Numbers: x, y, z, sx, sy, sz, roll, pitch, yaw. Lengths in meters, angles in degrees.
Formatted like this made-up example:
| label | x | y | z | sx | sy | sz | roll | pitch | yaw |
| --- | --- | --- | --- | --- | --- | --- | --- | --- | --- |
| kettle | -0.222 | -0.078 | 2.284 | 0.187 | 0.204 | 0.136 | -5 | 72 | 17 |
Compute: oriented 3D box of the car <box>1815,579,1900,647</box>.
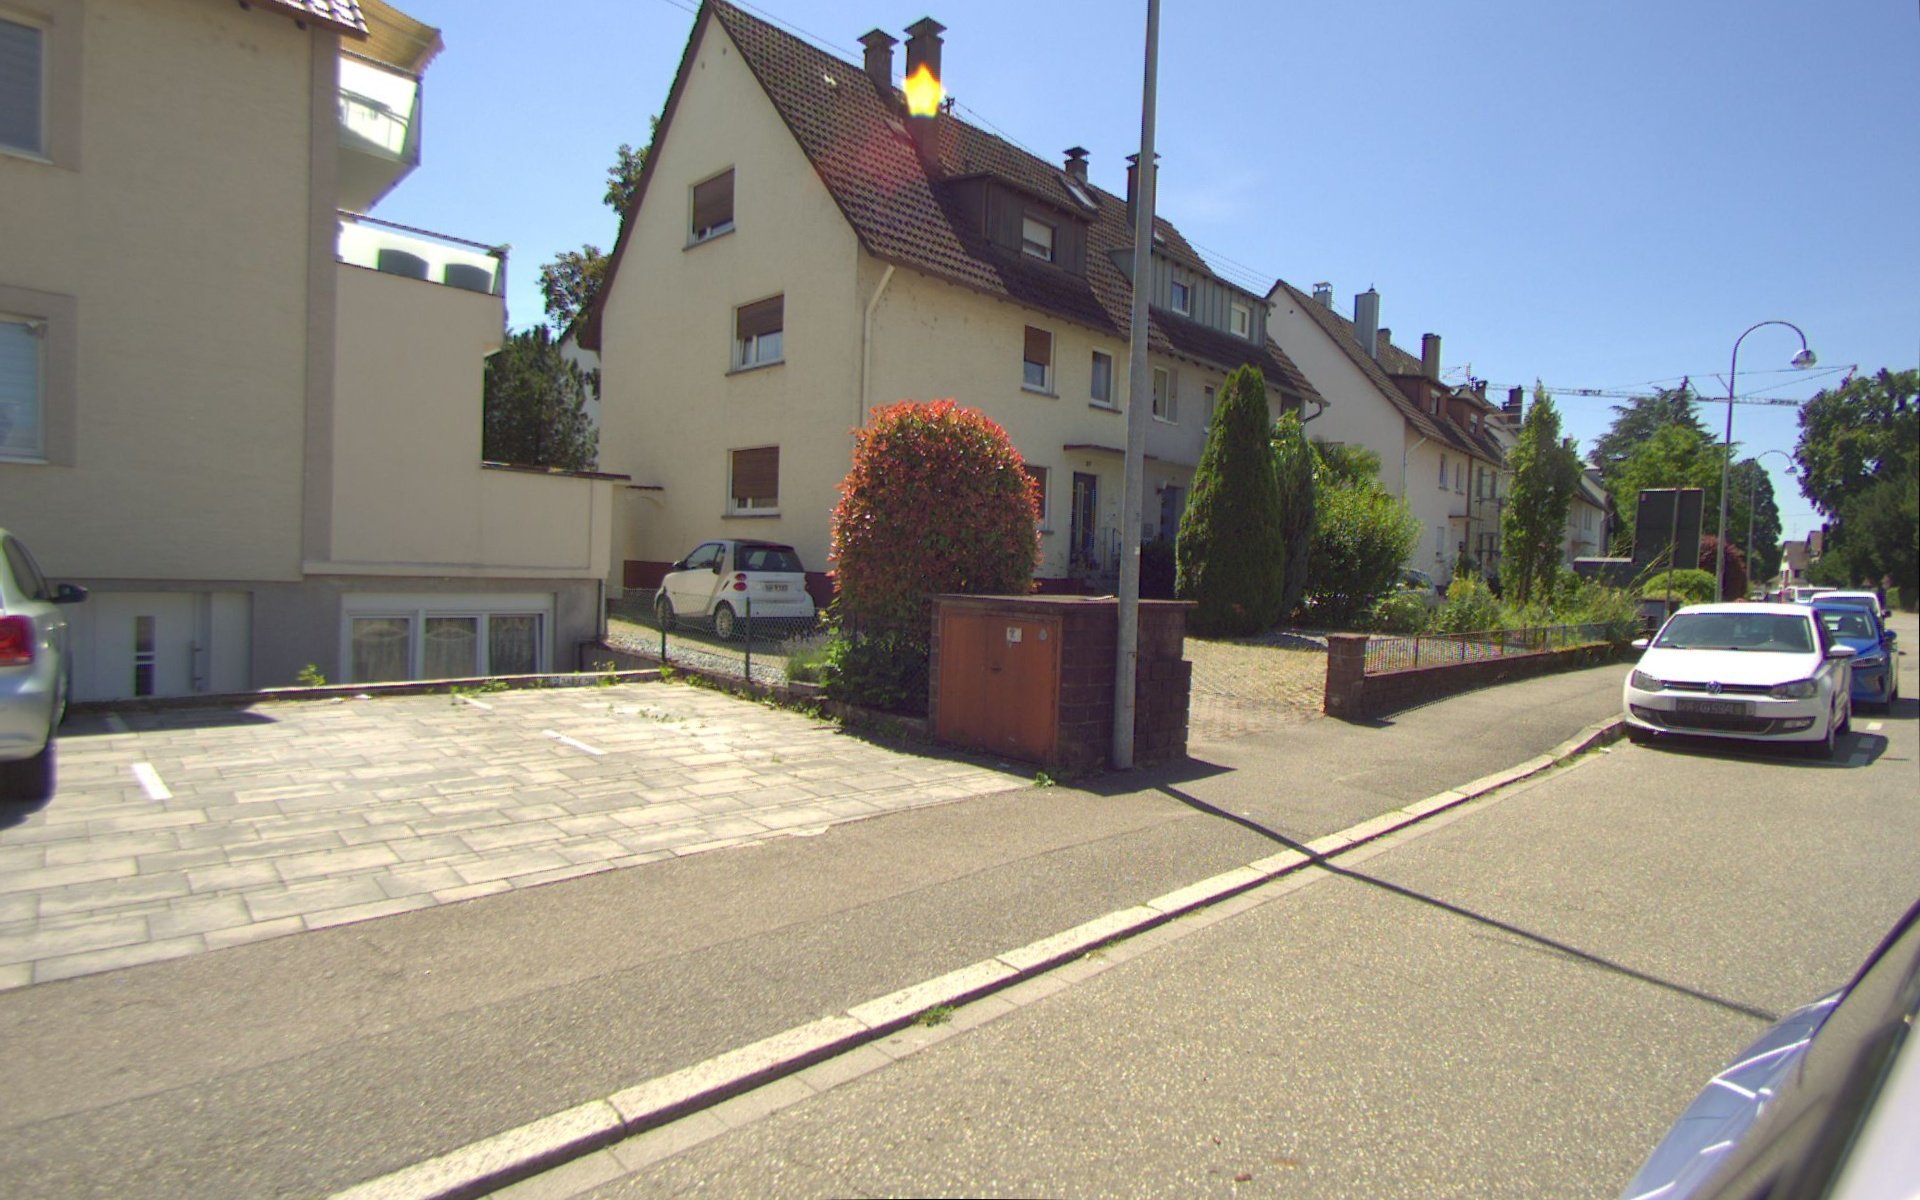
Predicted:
| label | x | y | z | sx | sy | sz | roll | pitch | yaw |
| --- | --- | --- | --- | --- | --- | --- | --- | --- | --- |
| car | 25.577 | 0.340 | 28.896 | 1.682 | 1.802 | 3.882 | -1 | 0 | 41 |

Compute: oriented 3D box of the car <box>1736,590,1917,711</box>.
| label | x | y | z | sx | sy | sz | roll | pitch | yaw |
| --- | --- | --- | --- | --- | --- | --- | --- | --- | --- |
| car | 12.772 | 0.615 | 14.819 | 1.685 | 1.472 | 4.292 | 1 | 1 | 45 |

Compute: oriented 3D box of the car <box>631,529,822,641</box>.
| label | x | y | z | sx | sy | sz | roll | pitch | yaw |
| --- | --- | --- | --- | --- | --- | --- | --- | --- | --- |
| car | -3.894 | -0.298 | 16.644 | 3.150 | 1.571 | 1.545 | 6 | 4 | 44 |

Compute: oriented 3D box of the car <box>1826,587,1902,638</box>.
| label | x | y | z | sx | sy | sz | roll | pitch | yaw |
| --- | --- | --- | --- | --- | --- | --- | --- | --- | --- |
| car | 29.051 | 0.362 | 32.498 | 1.685 | 1.516 | 3.878 | 1 | 1 | 44 |

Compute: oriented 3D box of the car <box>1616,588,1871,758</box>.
| label | x | y | z | sx | sy | sz | roll | pitch | yaw |
| --- | --- | --- | --- | --- | --- | --- | --- | --- | --- |
| car | 8.429 | 0.631 | 10.775 | 3.679 | 1.473 | 1.685 | 0 | 1 | -45 |

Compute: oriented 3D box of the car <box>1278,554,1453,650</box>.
| label | x | y | z | sx | sy | sz | roll | pitch | yaw |
| --- | --- | --- | --- | --- | --- | --- | --- | --- | --- |
| car | 8.873 | -0.013 | 21.972 | 1.918 | 1.873 | 4.458 | 2 | 2 | 45 |

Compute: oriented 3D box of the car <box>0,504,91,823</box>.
| label | x | y | z | sx | sy | sz | roll | pitch | yaw |
| --- | --- | --- | --- | --- | --- | --- | --- | --- | --- |
| car | -6.269 | 0.278 | 5.878 | 1.747 | 1.549 | 3.624 | -1 | 2 | -42 |

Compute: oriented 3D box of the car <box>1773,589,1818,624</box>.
| label | x | y | z | sx | sy | sz | roll | pitch | yaw |
| --- | --- | --- | --- | --- | --- | --- | --- | --- | --- |
| car | 44.615 | 0.309 | 53.994 | 1.683 | 1.802 | 3.881 | 0 | 1 | 42 |

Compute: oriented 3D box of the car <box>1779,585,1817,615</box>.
| label | x | y | z | sx | sy | sz | roll | pitch | yaw |
| --- | --- | --- | --- | --- | --- | --- | --- | --- | --- |
| car | 53.027 | -0.045 | 64.026 | 1.683 | 1.802 | 3.881 | 0 | 1 | 42 |
